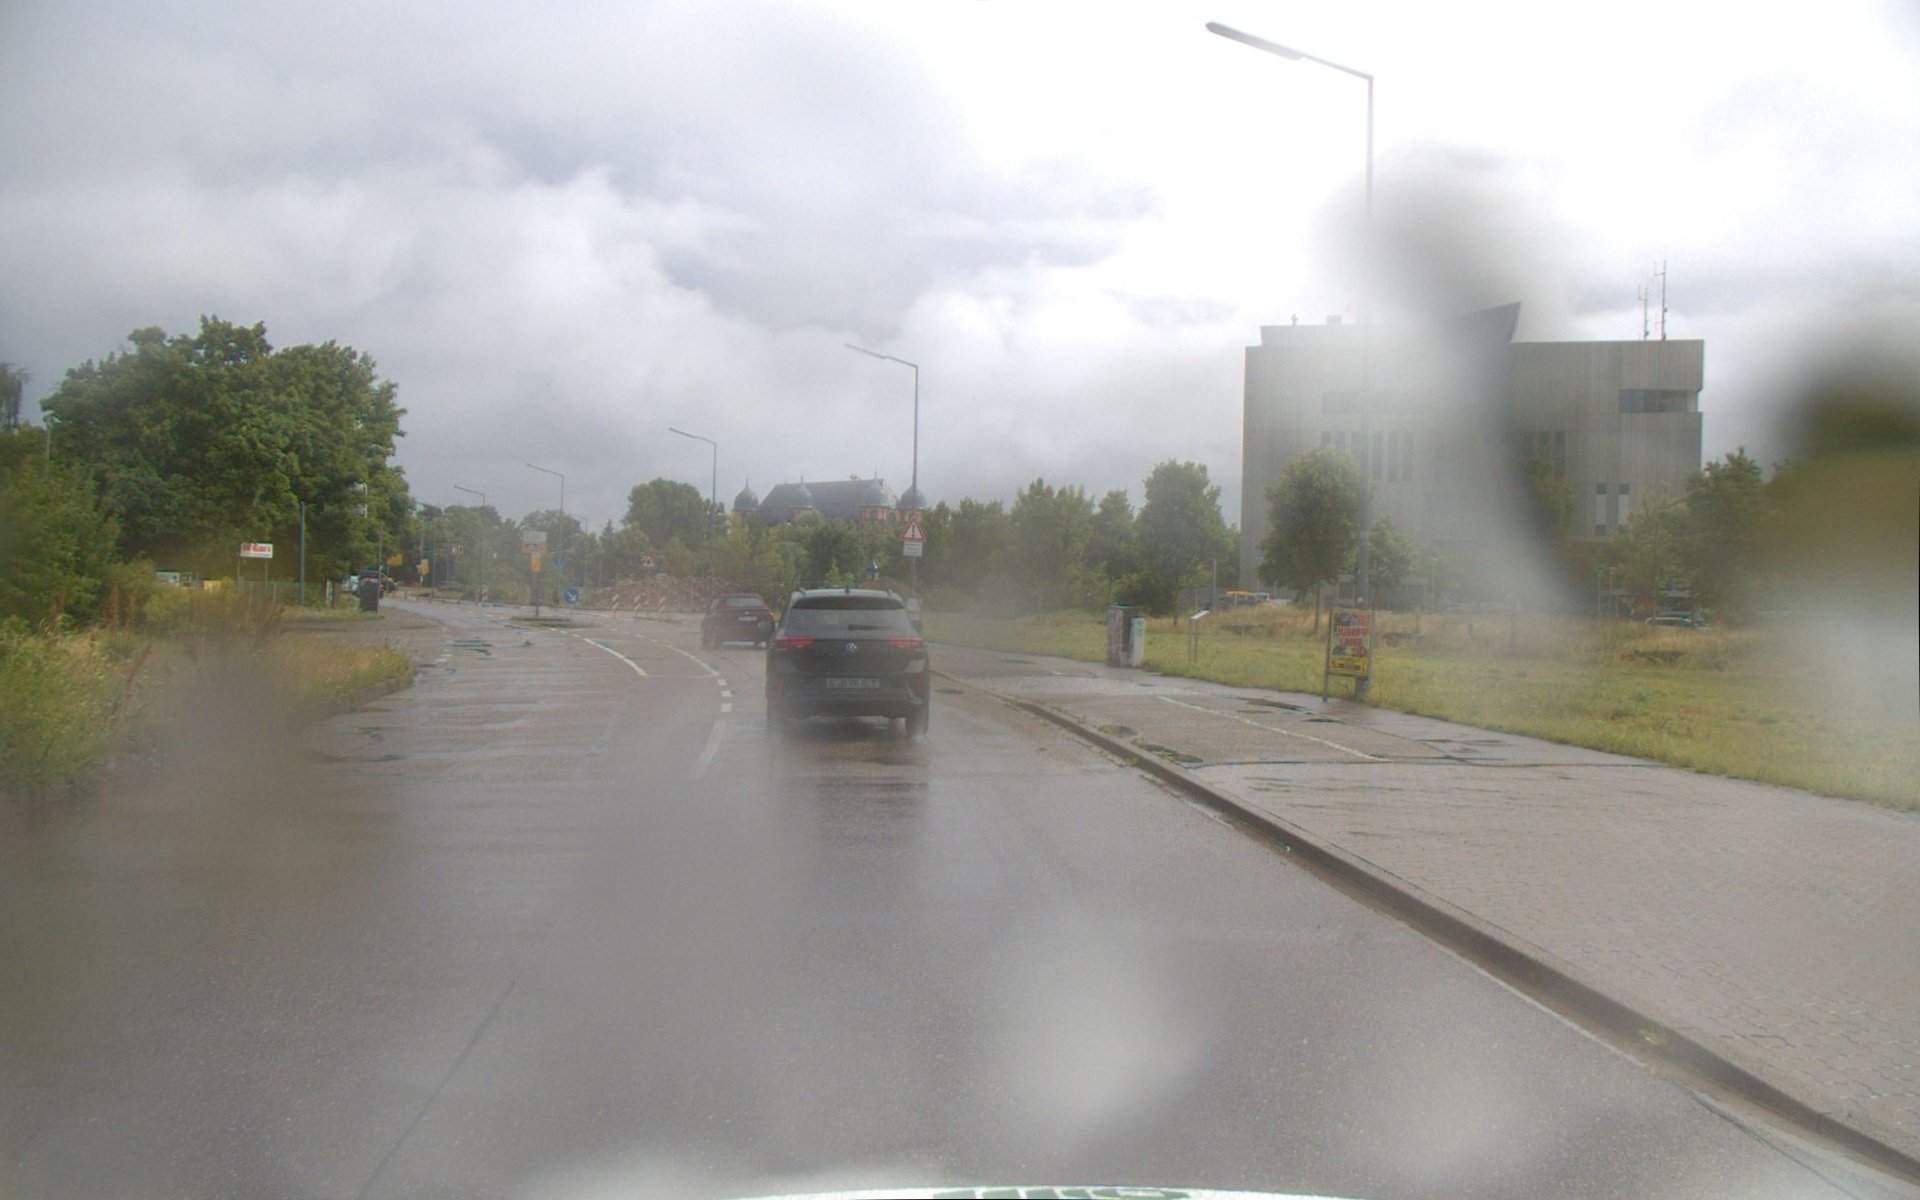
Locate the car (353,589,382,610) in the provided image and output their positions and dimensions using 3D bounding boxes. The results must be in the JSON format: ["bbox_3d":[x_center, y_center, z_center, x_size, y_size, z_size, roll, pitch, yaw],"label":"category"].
[{"bbox_3d":[-49.922,-0.050,139.302,1.819,1.670,3.982,1,0,-26],"label":"car"}]

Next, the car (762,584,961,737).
[{"bbox_3d":[-1.239,0.595,18.928,1.950,1.547,3.993,0,0,-8],"label":"car"}]

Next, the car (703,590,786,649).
[{"bbox_3d":[-5.846,0.508,44.526,1.810,1.467,3.986,-1,0,-13],"label":"car"}]
